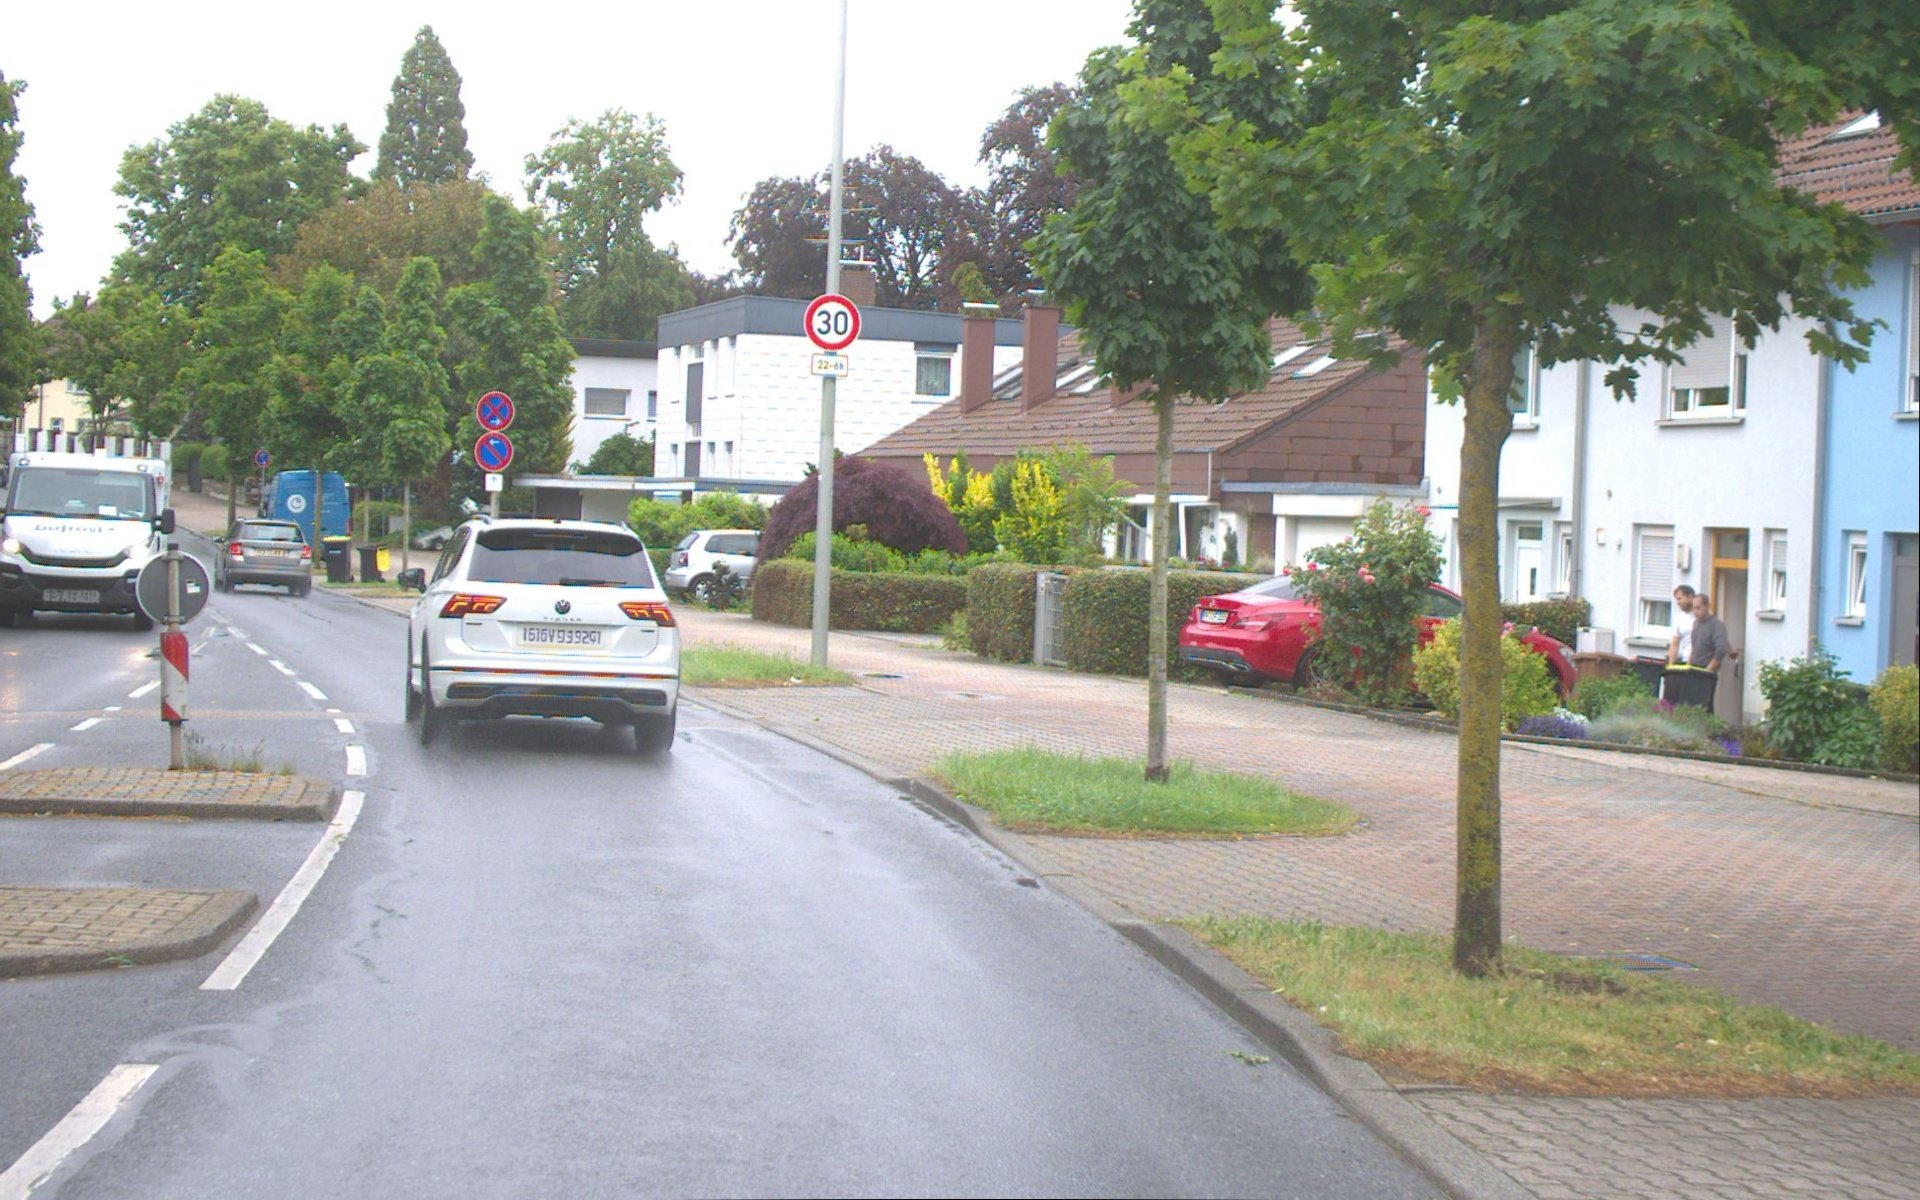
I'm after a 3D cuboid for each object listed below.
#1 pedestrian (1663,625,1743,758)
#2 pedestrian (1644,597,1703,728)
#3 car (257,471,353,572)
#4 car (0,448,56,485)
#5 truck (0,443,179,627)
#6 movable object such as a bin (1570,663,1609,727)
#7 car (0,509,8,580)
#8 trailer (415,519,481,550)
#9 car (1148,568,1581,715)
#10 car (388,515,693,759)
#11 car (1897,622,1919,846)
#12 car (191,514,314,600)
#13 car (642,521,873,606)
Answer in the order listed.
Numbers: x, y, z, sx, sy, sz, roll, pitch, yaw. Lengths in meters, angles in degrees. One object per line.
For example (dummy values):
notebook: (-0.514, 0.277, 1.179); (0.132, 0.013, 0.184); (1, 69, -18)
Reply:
pedestrian: (7.761, 0.957, 35.919); (0.535, 1.346, 0.529); (3, 1, -28)
pedestrian: (7.564, 0.658, 36.462); (0.496, 1.346, 0.564); (3, 1, 7)
car: (-17.402, -2.121, 91.178); (1.993, 2.578, 5.635); (1, 2, -16)
car: (-42.805, -6.099, 156.474); (1.643, 1.422, 4.000); (3, 2, -38)
truck: (-11.803, -0.890, 46.322); (2.216, 2.196, 6.466); (3, 1, -11)
movable object such as a bin: (6.386, 0.960, 34.877); (0.255, 0.624, 0.325); (2, 1, -15)
car: (-20.925, -1.229, 71.637); (1.993, 1.398, 4.559); (3, 1, -16)
trailer: (-17.124, -2.192, 114.967); (2.041, 0.880, 1.365); (4, 1, -12)
car: (4.355, 0.449, 36.924); (4.302, 1.256, 1.680); (4, 1, -25)
car: (-3.230, 0.228, 25.845); (1.864, 1.645, 4.001); (2, 1, -12)
car: (8.062, 0.944, 21.360); (3.985, 1.382, 1.675); (3, 1, -17)
car: (-13.795, -0.858, 66.893); (1.768, 1.546, 4.001); (2, 1, -19)
car: (-3.845, -0.687, 65.090); (3.985, 1.437, 1.848); (2, 1, -17)
